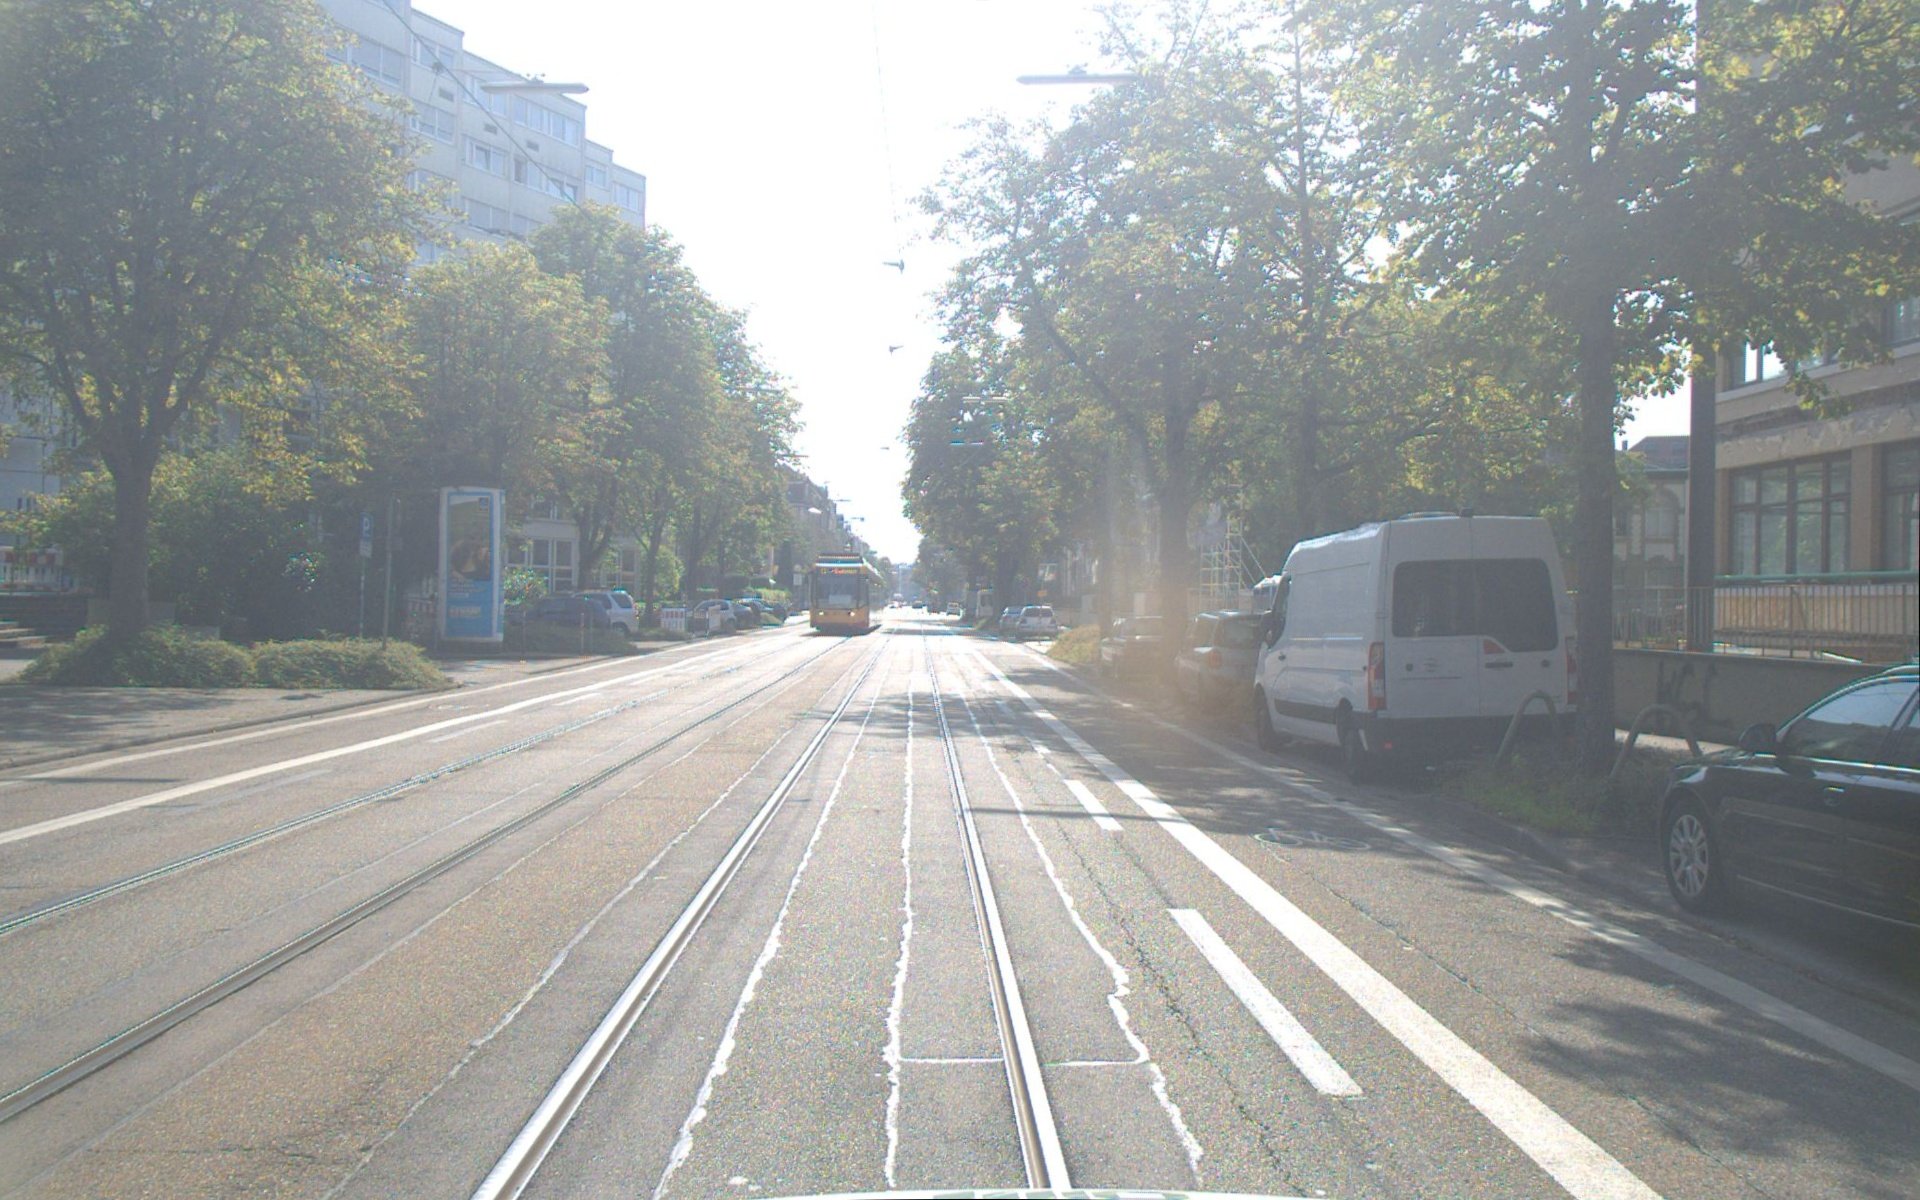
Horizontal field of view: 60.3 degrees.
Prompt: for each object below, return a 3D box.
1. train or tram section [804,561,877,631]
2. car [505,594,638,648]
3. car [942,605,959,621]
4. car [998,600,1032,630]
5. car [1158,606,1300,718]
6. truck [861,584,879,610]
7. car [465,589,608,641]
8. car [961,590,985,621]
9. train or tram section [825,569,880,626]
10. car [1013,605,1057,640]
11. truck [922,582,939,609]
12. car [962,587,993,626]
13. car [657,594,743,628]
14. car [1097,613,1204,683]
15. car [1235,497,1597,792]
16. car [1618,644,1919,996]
[{"bbox_3d":[-5.444,-0.143,77.737,2.674,2.945,15.449,1,0,-2],"label":"train or tram section"},{"bbox_3d":[-12.220,0.653,52.180,1.714,1.650,3.770,1,0,44],"label":"car"},{"bbox_3d":[-1.136,1.602,199.567,1.953,1.870,4.000,1,0,0],"label":"car"},{"bbox_3d":[2.781,0.756,83.986,1.562,1.443,3.633,1,0,-1],"label":"car"},{"bbox_3d":[4.334,0.957,27.165,1.630,1.645,3.876,0,1,-1],"label":"car"},{"bbox_3d":[-10.891,-0.361,200.473,1.953,3.027,4.569,1,0,-2],"label":"truck"},{"bbox_3d":[-12.442,0.442,48.693,3.767,1.467,1.666,1,0,-44],"label":"car"},{"bbox_3d":[1.070,0.468,138.933,1.964,2.518,4.476,1,0,-1],"label":"car"},{"bbox_3d":[-5.727,-0.121,88.743,2.673,2.899,6.541,1,0,-2],"label":"train or tram section"},{"bbox_3d":[3.172,0.937,70.332,1.655,1.443,3.633,1,0,-1],"label":"car"},{"bbox_3d":[-3.615,-0.576,200.622,1.824,3.185,4.349,1,0,-4],"label":"truck"},{"bbox_3d":[1.145,0.440,111.926,1.964,2.534,4.476,1,0,-1],"label":"car"},{"bbox_3d":[-11.559,0.488,73.560,1.540,1.468,3.746,1,0,38],"label":"car"},{"bbox_3d":[4.166,1.015,36.767,1.718,1.402,4.717,-1,0,-1],"label":"car"},{"bbox_3d":[4.629,0.403,17.848,2.041,2.597,5.498,-3,0,-3],"label":"car"},{"bbox_3d":[4.818,0.967,7.631,1.583,1.398,4.826,0,0,-1],"label":"car"}]
